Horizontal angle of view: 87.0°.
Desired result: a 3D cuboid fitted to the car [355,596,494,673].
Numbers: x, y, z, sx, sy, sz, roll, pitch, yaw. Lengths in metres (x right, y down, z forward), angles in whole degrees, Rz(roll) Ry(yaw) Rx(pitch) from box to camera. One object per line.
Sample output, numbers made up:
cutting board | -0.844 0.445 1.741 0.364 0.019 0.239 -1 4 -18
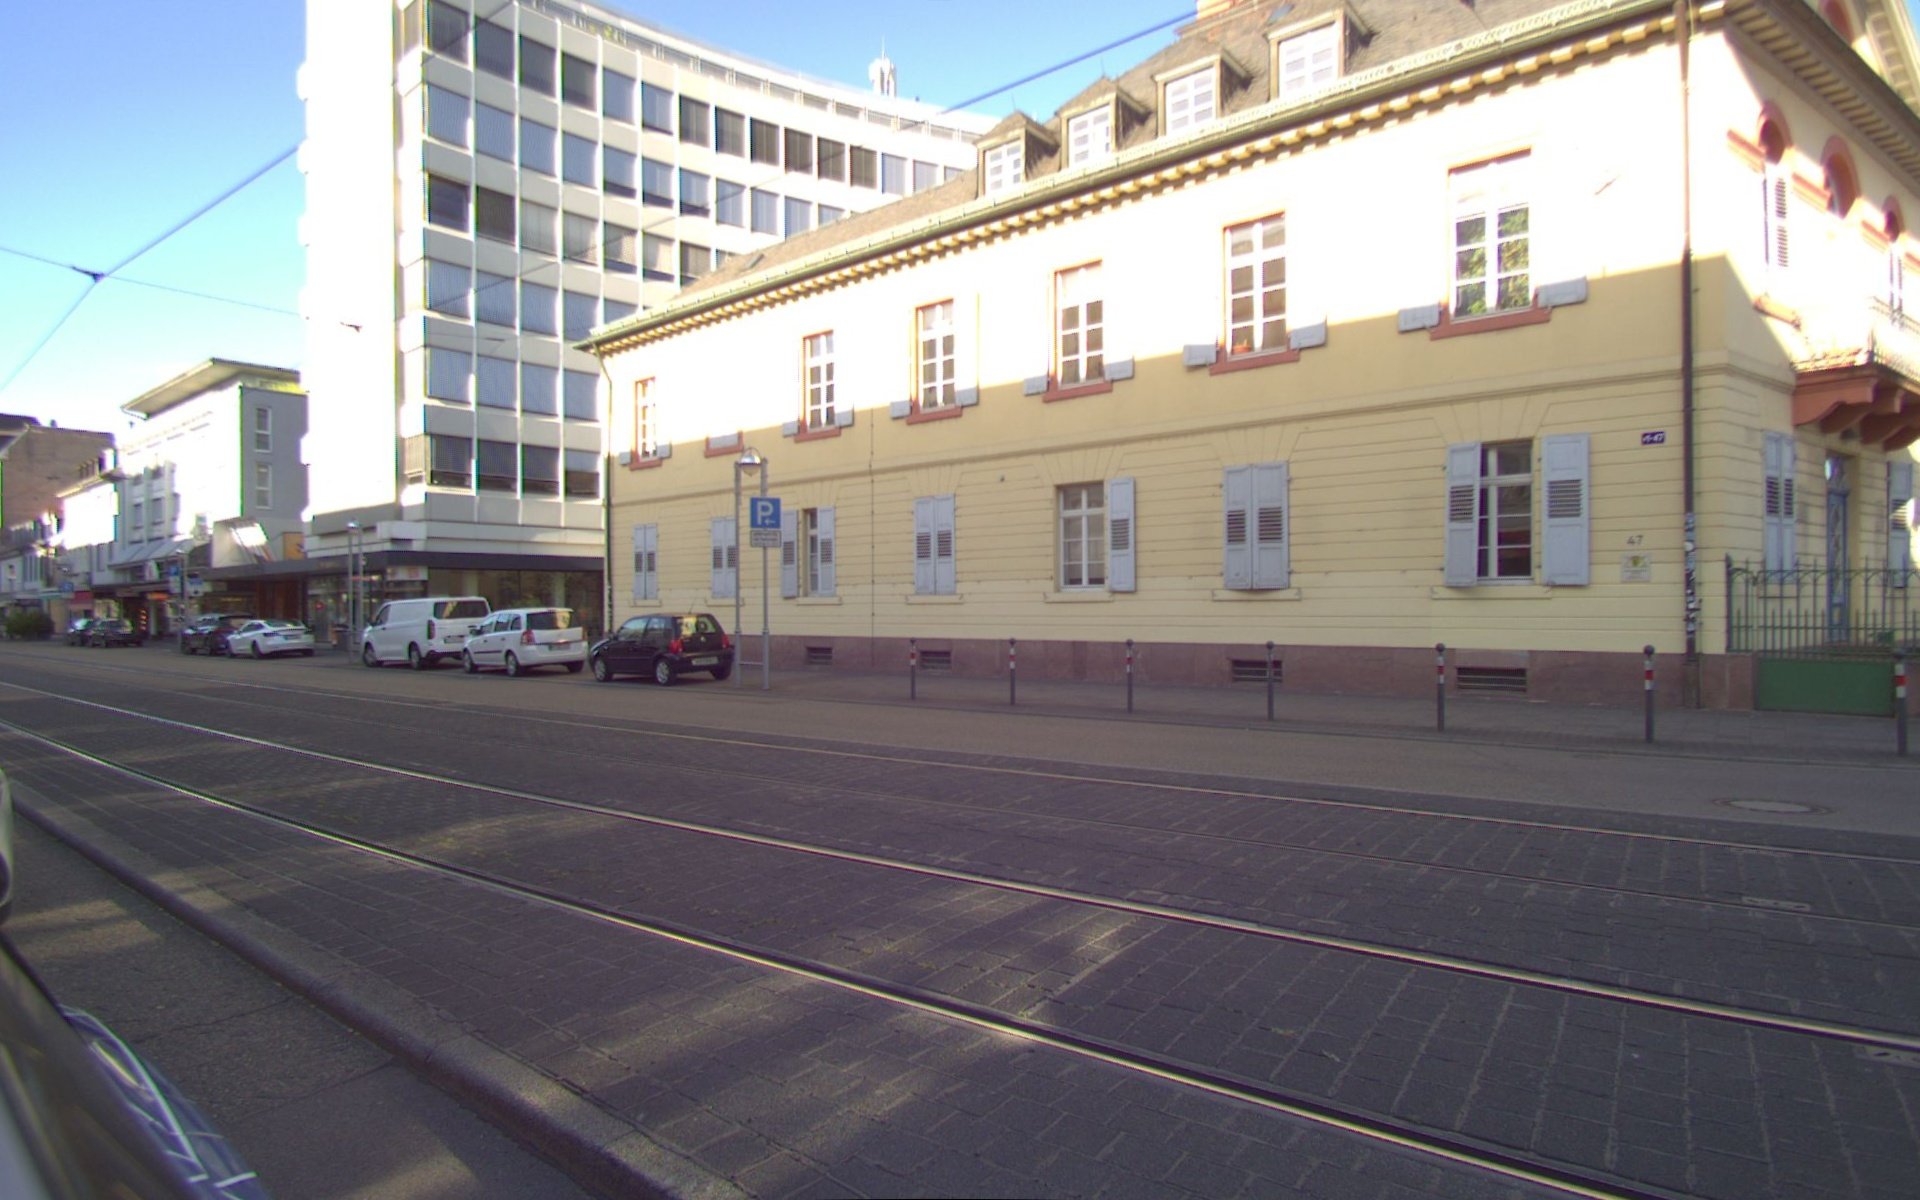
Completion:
car | -15.361 0.965 28.951 4.619 2.029 2.014 -1 -1 41

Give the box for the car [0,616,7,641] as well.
car | -78.822 2.317 81.857 3.995 2.029 1.974 -1 0 38

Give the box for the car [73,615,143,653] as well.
car | -43.871 1.716 52.098 3.995 1.874 1.974 -1 0 38

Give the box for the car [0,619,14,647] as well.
car | -71.163 2.445 74.373 3.998 2.029 1.973 -1 -1 41

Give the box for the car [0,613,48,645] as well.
car | -63.072 1.932 67.917 3.996 2.058 2.172 -1 -1 39

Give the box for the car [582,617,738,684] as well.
car | -6.396 1.013 21.489 3.210 1.263 1.667 -1 0 39

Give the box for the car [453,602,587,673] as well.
car | -11.069 0.887 25.353 4.005 1.621 1.619 -1 0 43

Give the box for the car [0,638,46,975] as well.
car | -6.086 0.898 4.782 3.992 1.393 1.862 -1 0 36

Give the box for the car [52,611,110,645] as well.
car | -50.285 1.596 57.886 3.994 1.896 1.768 -1 -1 38

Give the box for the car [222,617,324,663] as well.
car | -25.600 1.438 37.671 4.369 1.541 1.974 -1 0 39

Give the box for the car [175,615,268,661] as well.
car | -29.917 1.484 40.965 4.103 1.717 1.975 -1 0 38
